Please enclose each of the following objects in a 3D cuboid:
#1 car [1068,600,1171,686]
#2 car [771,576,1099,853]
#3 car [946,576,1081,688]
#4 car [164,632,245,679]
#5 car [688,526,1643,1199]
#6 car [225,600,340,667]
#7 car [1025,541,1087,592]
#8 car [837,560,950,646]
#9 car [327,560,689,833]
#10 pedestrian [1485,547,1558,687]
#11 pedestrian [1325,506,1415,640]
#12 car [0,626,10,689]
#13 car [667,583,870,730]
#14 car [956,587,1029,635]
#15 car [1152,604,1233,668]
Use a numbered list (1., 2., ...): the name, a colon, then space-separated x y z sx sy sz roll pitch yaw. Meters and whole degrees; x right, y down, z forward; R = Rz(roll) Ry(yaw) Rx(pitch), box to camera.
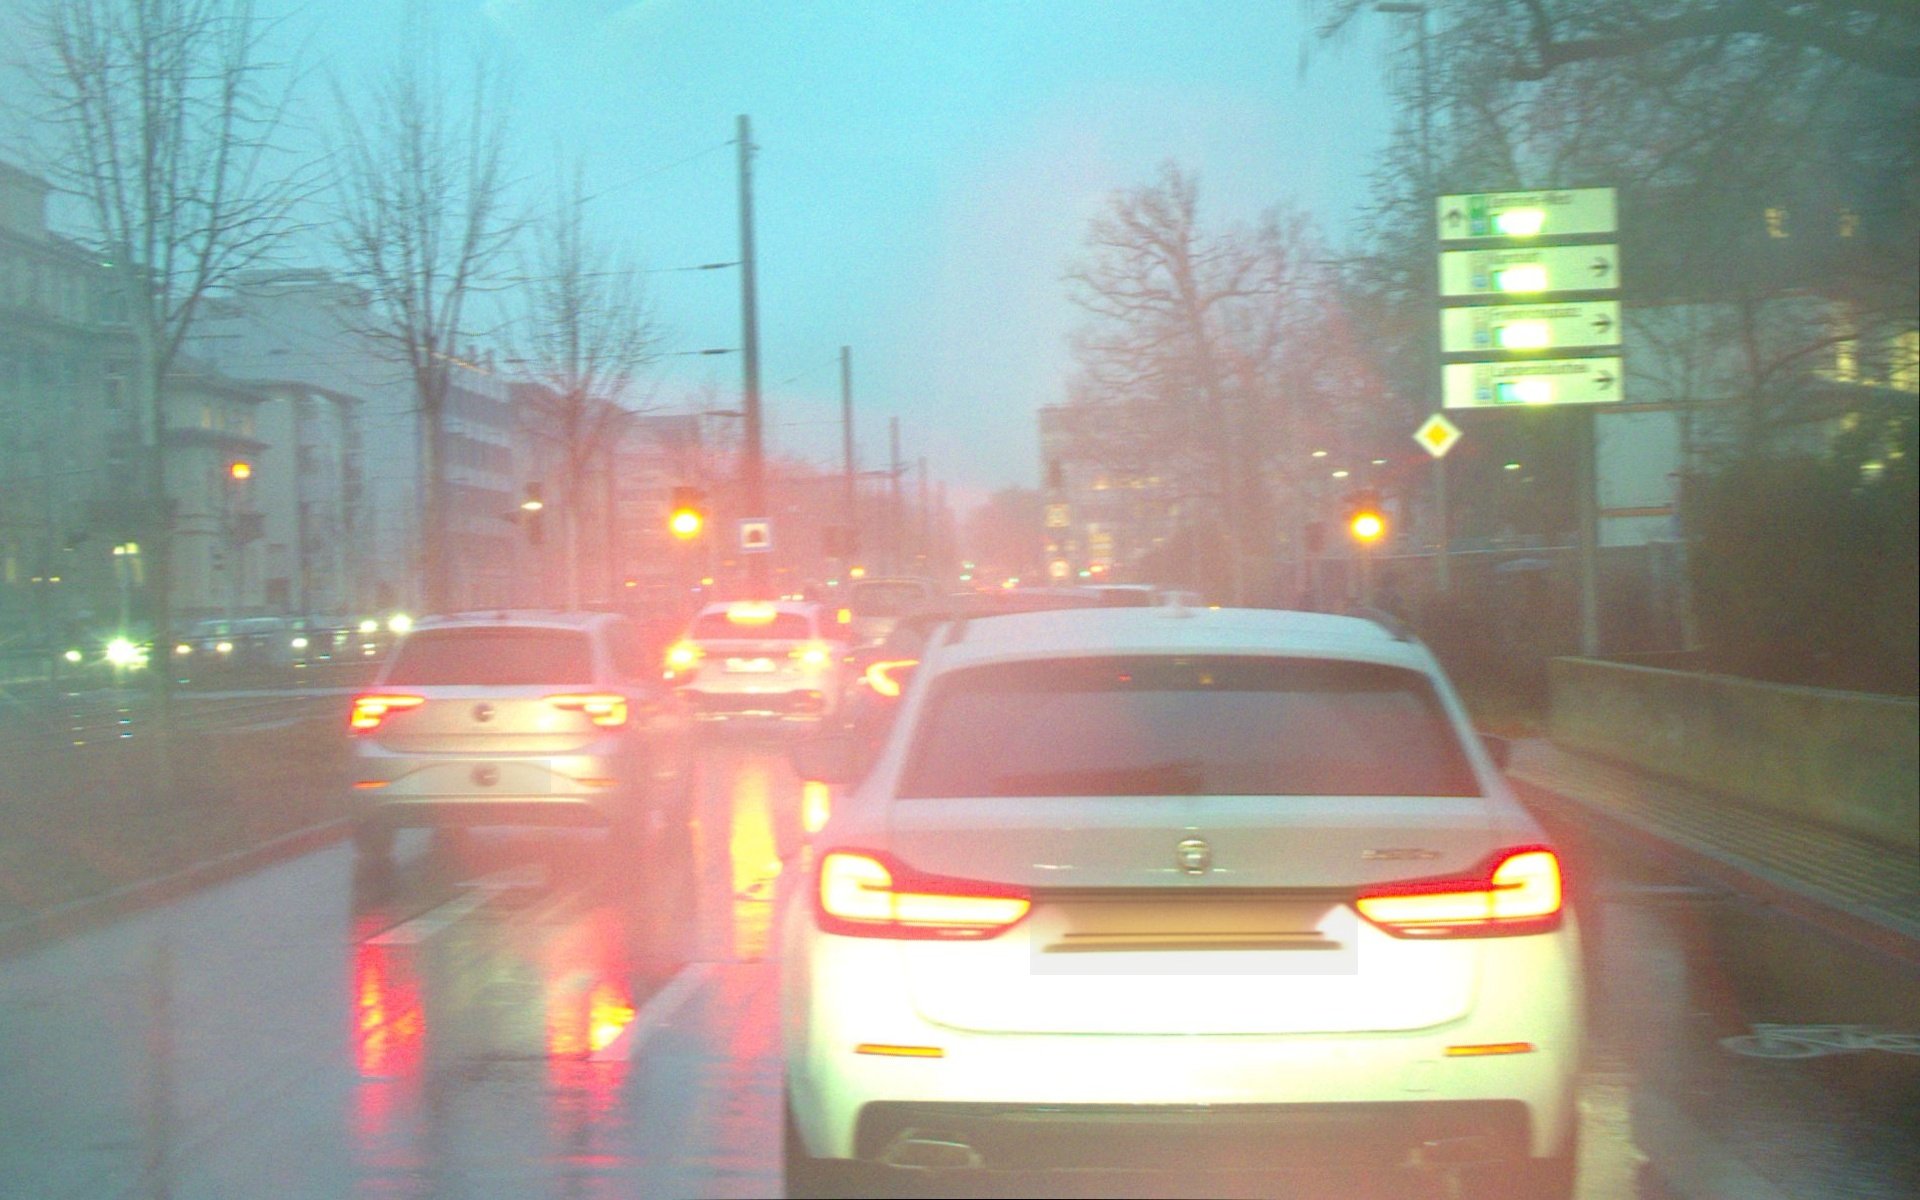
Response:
1. car: 2.824 0.742 61.478 1.738 1.415 3.703 -2 0 2
2. car: -0.083 0.641 21.119 1.800 1.506 3.895 -1 0 2
3. car: 0.756 0.411 47.017 1.738 1.415 3.703 -2 0 2
4. car: -21.646 1.579 98.626 1.690 1.273 4.149 -1 0 -4
5. car: 0.483 0.641 9.316 1.862 1.550 4.938 -2 0 2
6. car: -16.615 0.805 84.488 1.993 1.597 4.000 0 0 1
7. car: 2.826 -0.985 101.315 1.738 1.415 4.146 -2 0 2
8. car: -1.142 0.032 60.680 1.738 1.415 4.393 -2 0 2
9. car: -2.692 0.529 21.272 1.693 1.528 4.000 0 0 0
10. pedestrian: 8.179 0.242 50.089 0.959 2.007 1.007 -2 0 7
11. pedestrian: 6.245 -0.405 52.368 0.958 2.007 1.008 -2 0 -20
12. car: -21.178 1.205 70.914 1.859 1.328 4.315 0 0 2
13. car: -2.037 0.572 37.704 1.799 1.461 4.585 -2 0 2
14. car: 0.926 0.310 96.439 1.930 1.284 4.000 0 0 2
15. car: 5.523 0.835 82.045 1.738 1.415 3.703 -2 0 2
